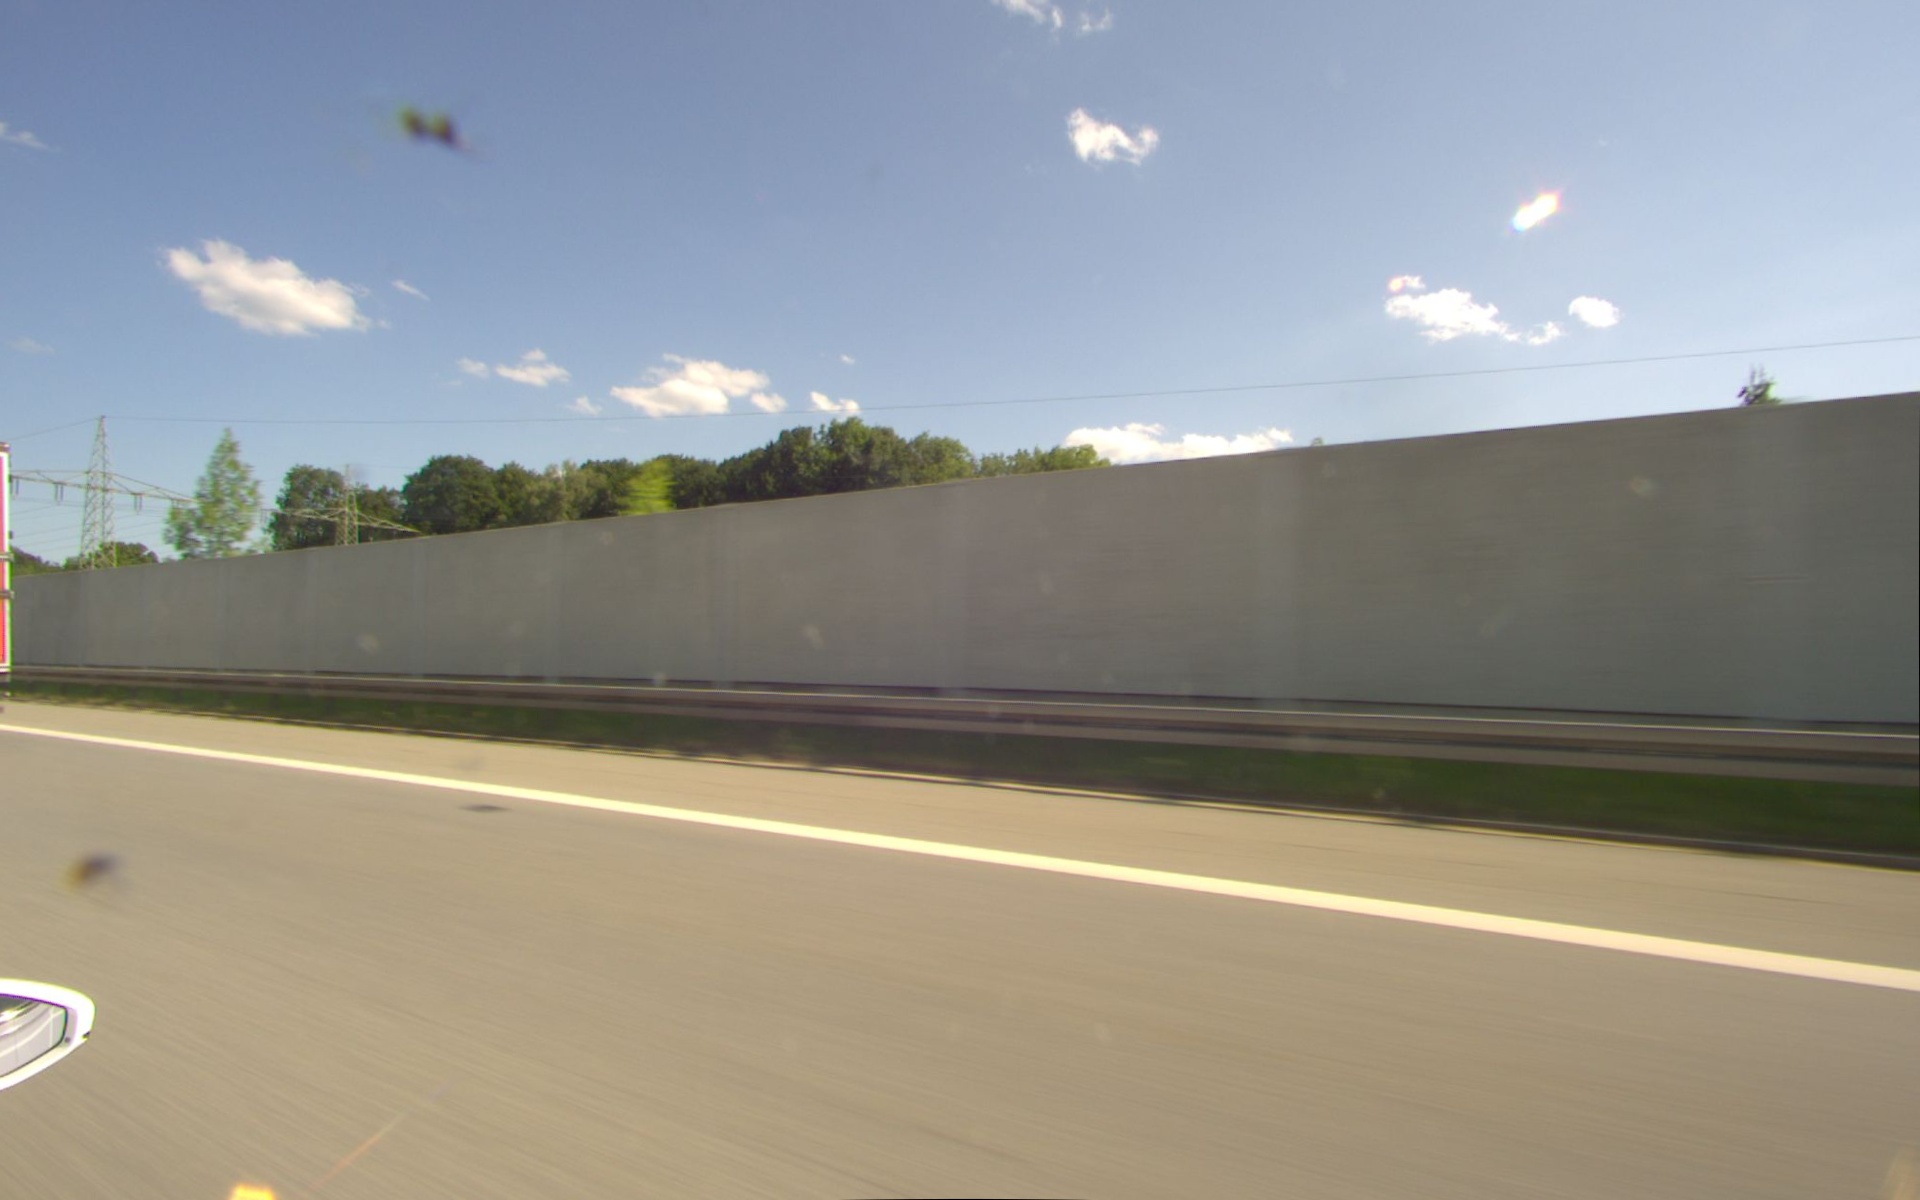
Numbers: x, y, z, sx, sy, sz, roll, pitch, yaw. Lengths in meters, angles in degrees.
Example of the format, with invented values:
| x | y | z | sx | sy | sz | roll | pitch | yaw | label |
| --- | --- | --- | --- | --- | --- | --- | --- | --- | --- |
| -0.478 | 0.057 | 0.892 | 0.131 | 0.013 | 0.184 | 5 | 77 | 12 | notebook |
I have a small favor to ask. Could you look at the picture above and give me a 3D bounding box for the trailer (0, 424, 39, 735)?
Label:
| x | y | z | sx | sy | sz | roll | pitch | yaw | label |
| --- | --- | --- | --- | --- | --- | --- | --- | --- | --- |
| -18.420 | -0.180 | 15.626 | 12.243 | 4.120 | 2.878 | -1 | 0 | 33 | trailer |
